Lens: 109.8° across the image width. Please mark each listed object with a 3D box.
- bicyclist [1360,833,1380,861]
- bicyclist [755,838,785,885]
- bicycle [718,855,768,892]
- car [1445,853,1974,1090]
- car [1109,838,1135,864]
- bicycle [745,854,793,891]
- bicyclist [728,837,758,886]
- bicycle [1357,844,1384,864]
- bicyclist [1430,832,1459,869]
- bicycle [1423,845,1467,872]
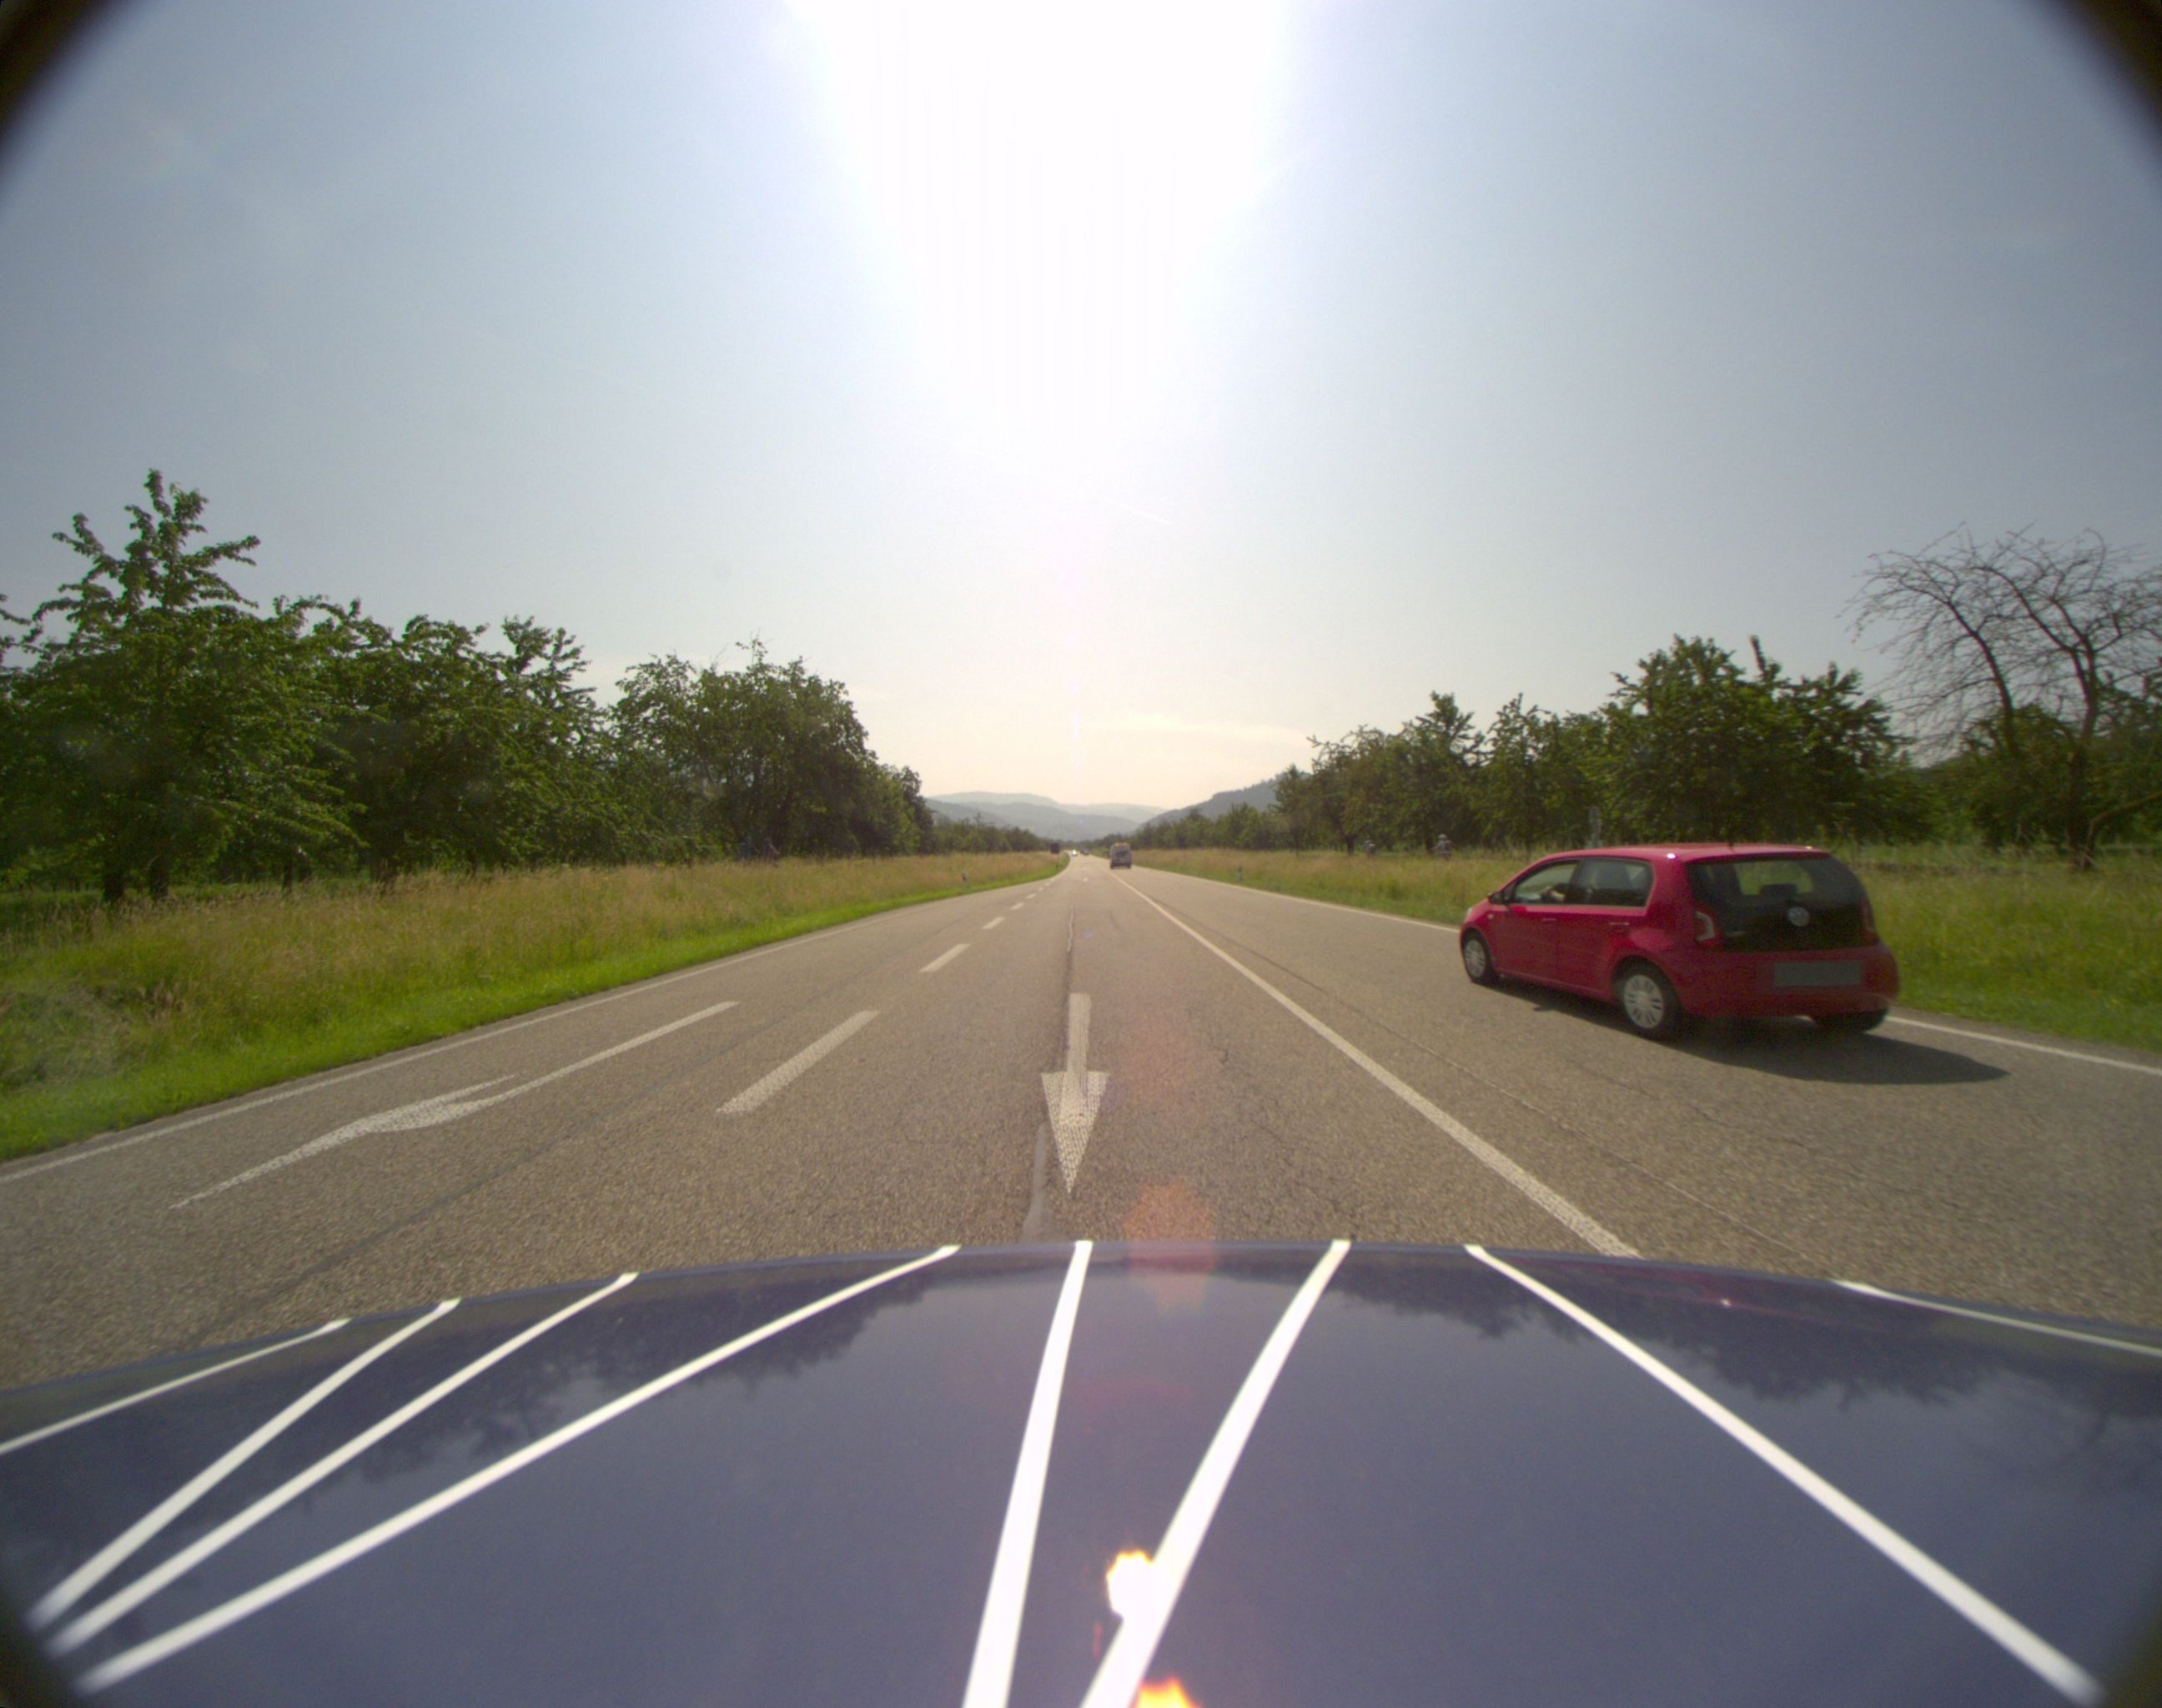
[{"bbox_3d":[14.815,-0.350,38.940,0.643,1.406,0.863,-2,2,1],"label":"bicyclist"},{"bbox_3d":[-12.481,0.300,30.472,0.751,1.856,0.869,0,1,8],"label":"bicyclist"},{"bbox_3d":[-13.517,0.751,30.470,0.751,1.410,2.222,0,0,8],"label":"bicycle"},{"bbox_3d":[4.933,0.755,6.716,1.629,1.448,3.620,-2,0,-1],"label":"car"},{"bbox_3d":[4.302,-0.350,80.658,2.166,2.653,6.141,-2,1,-1],"label":"car"},{"bbox_3d":[-12.472,0.721,30.494,0.751,1.410,2.222,0,0,8],"label":"bicycle"},{"bbox_3d":[-13.524,0.287,30.456,0.751,1.918,0.828,0,1,8],"label":"bicyclist"},{"bbox_3d":[14.834,-0.005,38.960,0.650,0.984,1.955,-2,2,1],"label":"bicycle"},{"bbox_3d":[14.672,-0.158,30.679,0.742,1.446,0.863,-2,2,1],"label":"bicyclist"},{"bbox_3d":[14.684,0.169,30.688,0.742,0.984,2.224,-2,2,1],"label":"bicycle"}]
